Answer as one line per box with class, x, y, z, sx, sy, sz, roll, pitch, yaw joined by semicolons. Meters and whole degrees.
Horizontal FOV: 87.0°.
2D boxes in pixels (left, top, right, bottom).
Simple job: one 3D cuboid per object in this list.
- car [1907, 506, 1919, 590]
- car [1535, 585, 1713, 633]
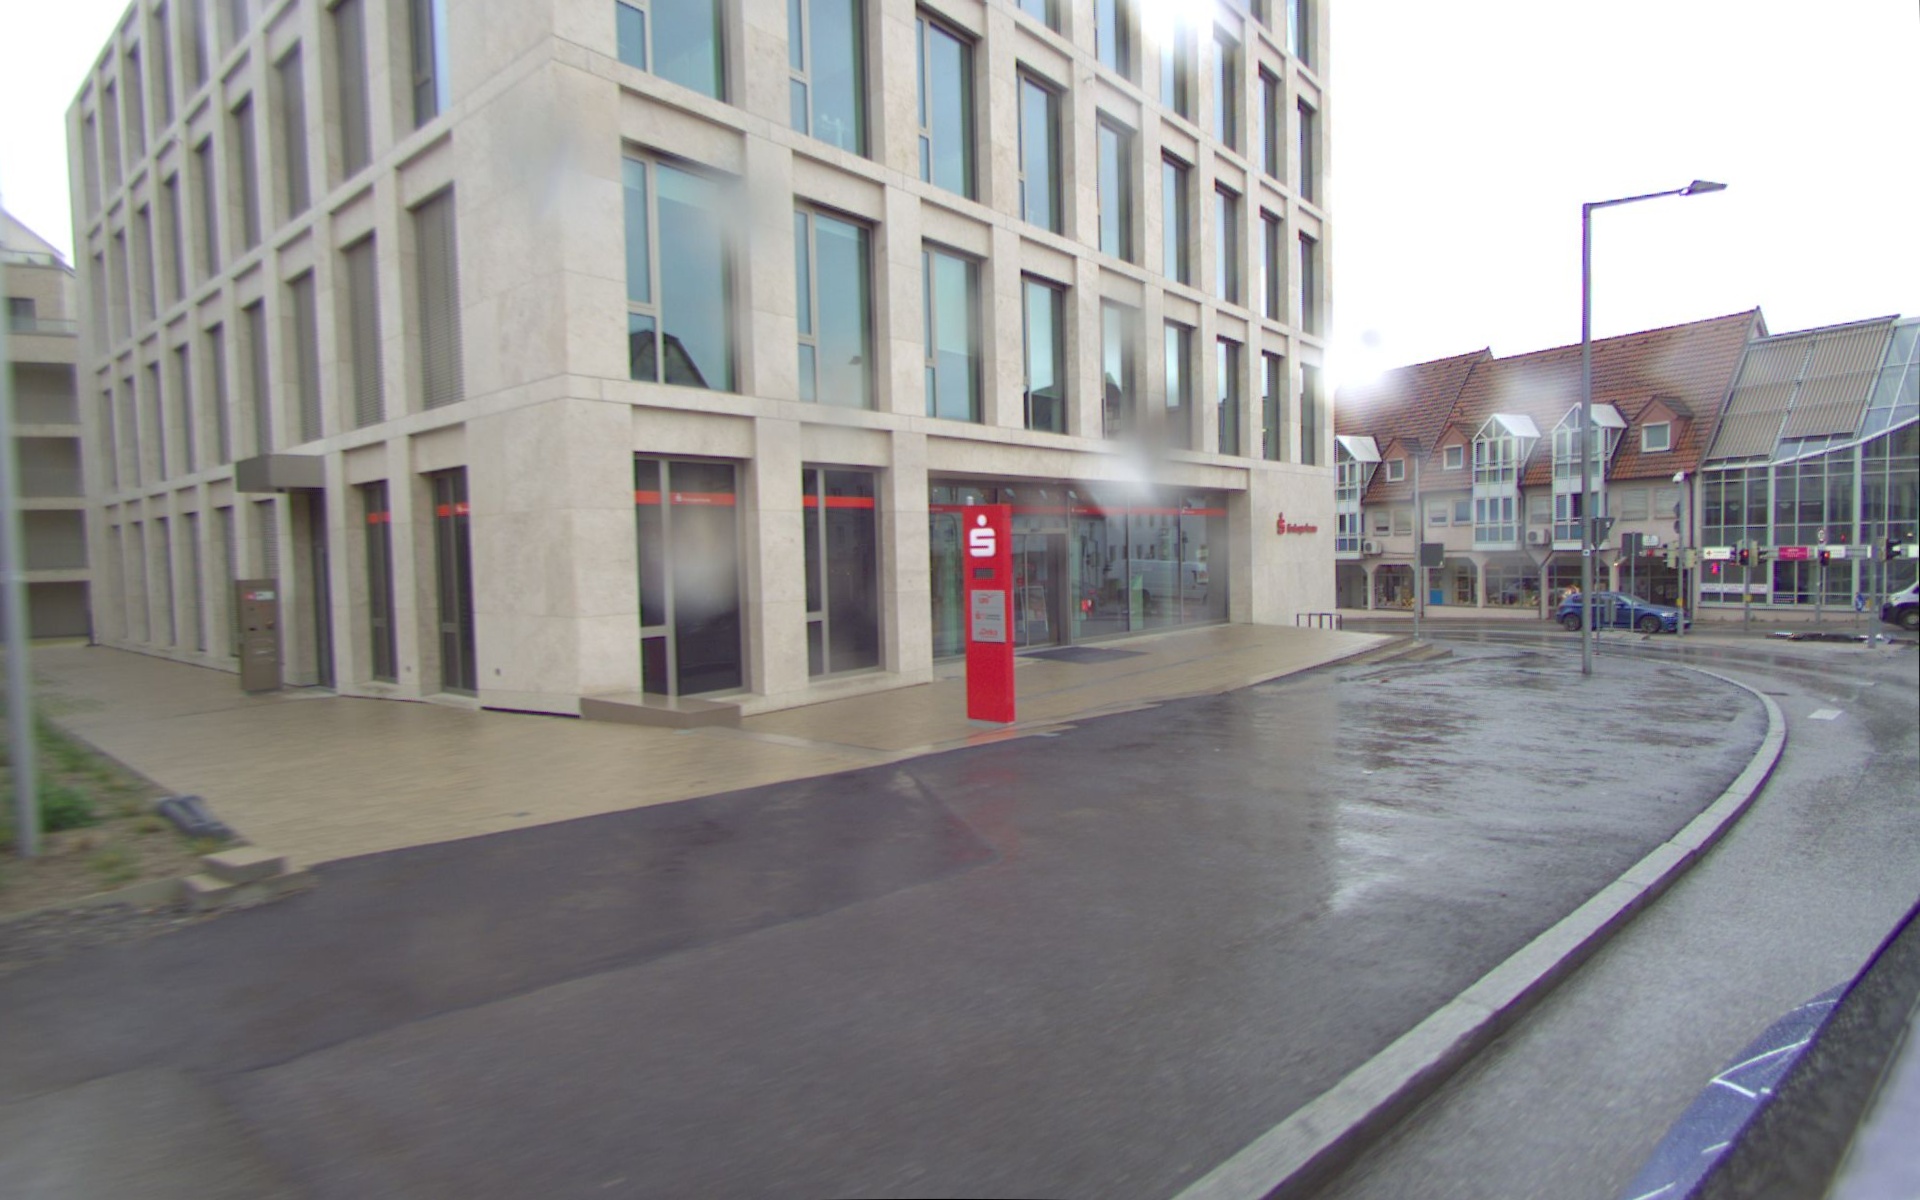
car;33.643;-1.633;30.962;1.961;2.722;6.517;0;1;-34
car;23.823;0.275;36.545;1.960;1.565;5.040;0;1;-29
